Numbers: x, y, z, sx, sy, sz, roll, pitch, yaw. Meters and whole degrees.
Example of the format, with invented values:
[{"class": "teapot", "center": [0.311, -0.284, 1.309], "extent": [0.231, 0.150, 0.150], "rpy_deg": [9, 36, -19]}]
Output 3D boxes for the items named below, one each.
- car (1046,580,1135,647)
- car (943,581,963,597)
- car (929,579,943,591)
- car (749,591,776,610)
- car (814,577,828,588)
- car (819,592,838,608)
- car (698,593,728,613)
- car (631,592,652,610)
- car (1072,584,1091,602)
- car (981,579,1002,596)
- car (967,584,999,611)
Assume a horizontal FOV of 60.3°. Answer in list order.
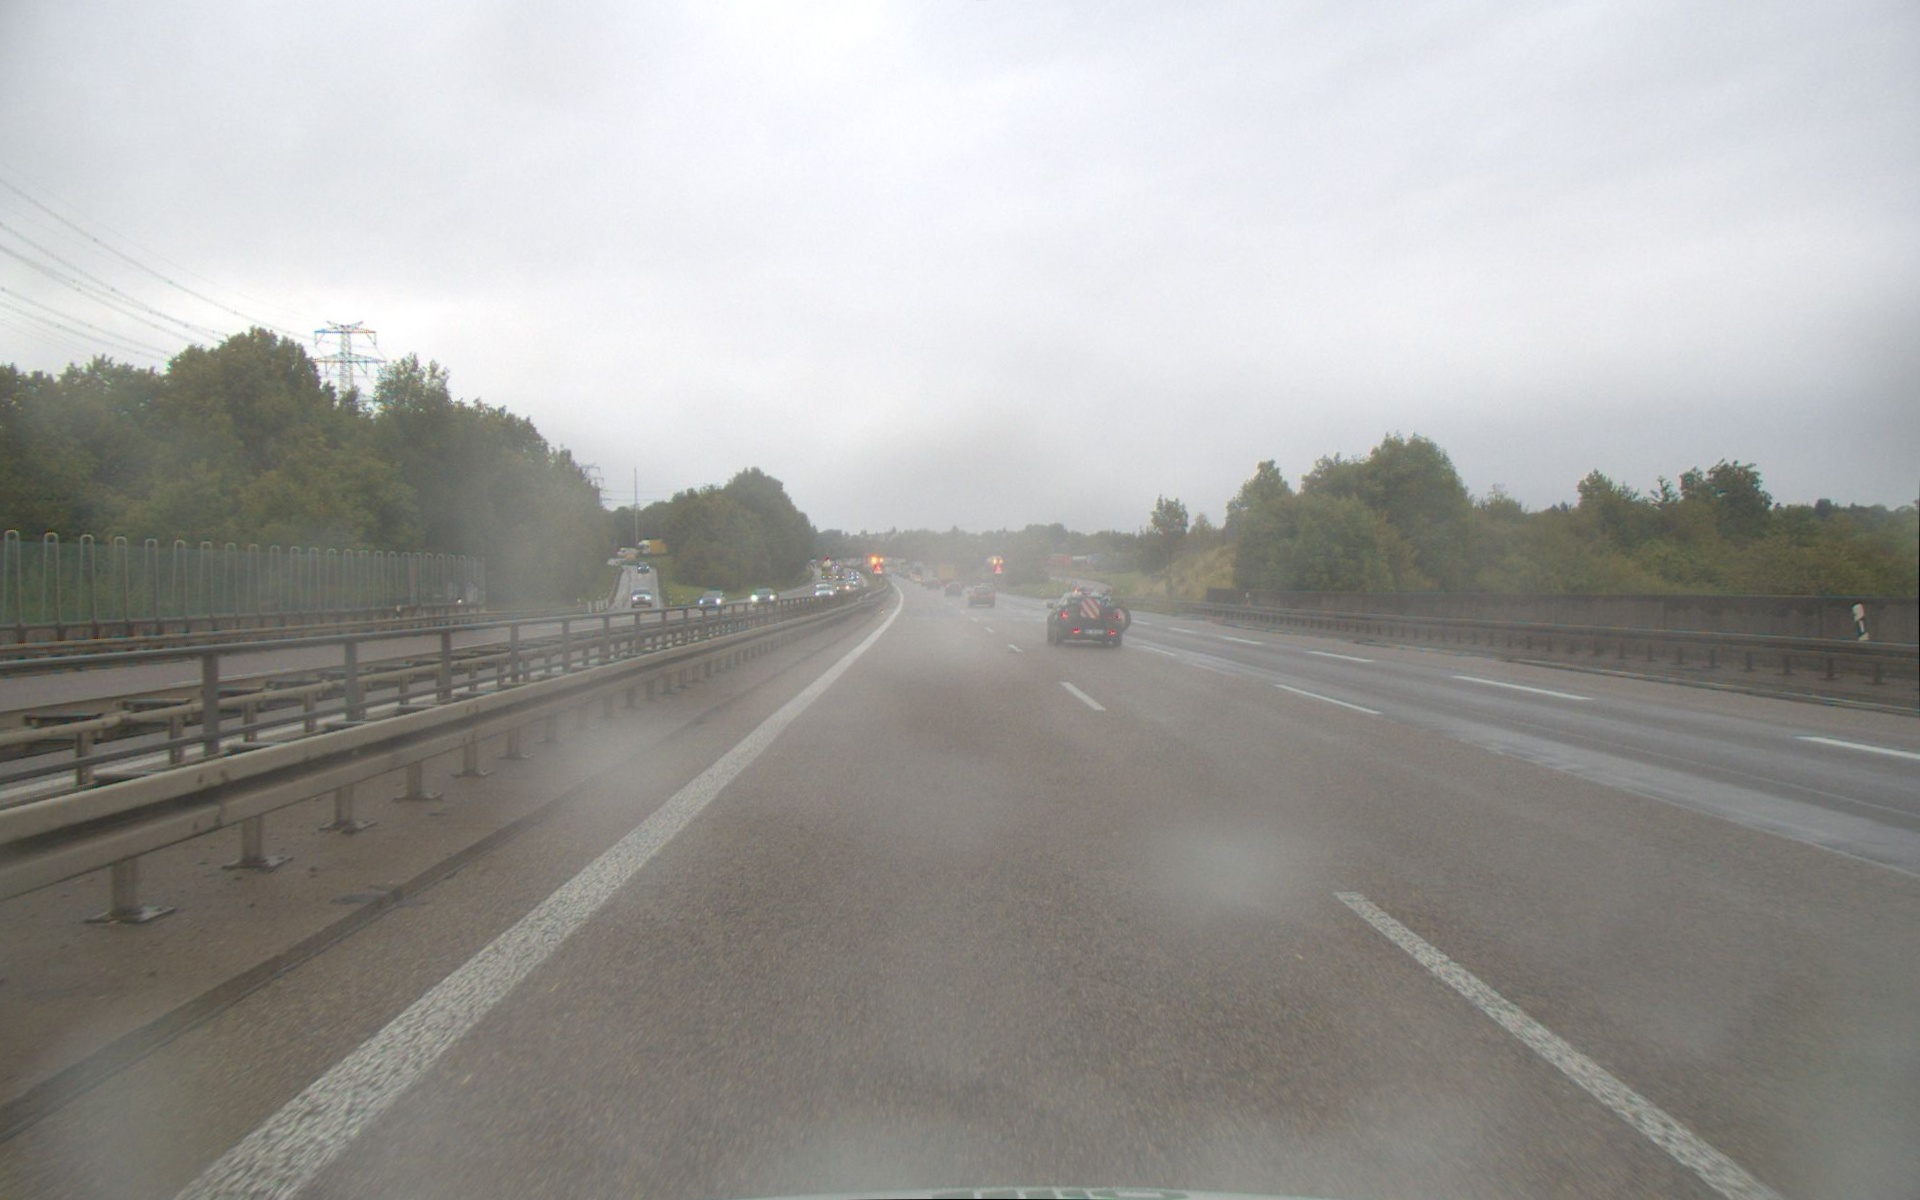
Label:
[{"class": "car", "center": [3.486, 0.351, 45.265], "extent": [2.015, 1.700, 5.522], "rpy_deg": [0, 0, 0]}, {"class": "car", "center": [-0.826, -1.214, 181.368], "extent": [1.954, 1.657, 3.998], "rpy_deg": [-1, 1, -3]}, {"class": "car", "center": [-3.610, -2.288, 251.407], "extent": [1.954, 1.657, 3.998], "rpy_deg": [-1, 1, -3]}, {"class": "car", "center": [-16.192, 0.029, 135.510], "extent": [1.779, 1.462, 4.088], "rpy_deg": [-2, 1, -1]}, {"class": "car", "center": [-21.085, -2.639, 251.556], "extent": [1.866, 1.694, 4.712], "rpy_deg": [-1, 1, -2]}, {"class": "car", "center": [-12.777, 0.007, 160.856], "extent": [1.623, 1.462, 4.088], "rpy_deg": [-2, 1, -1]}, {"class": "car", "center": [-19.148, 0.239, 128.315], "extent": [1.779, 1.413, 4.088], "rpy_deg": [-2, 1, -1]}, {"class": "car", "center": [-31.519, 0.087, 163.566], "extent": [1.958, 1.699, 3.988], "rpy_deg": [-1, 0, -12]}, {"class": "car", "center": [12.310, -0.740, 167.419], "extent": [1.882, 1.739, 4.002], "rpy_deg": [-1, 1, 3]}, {"class": "car", "center": [3.466, -1.404, 180.980], "extent": [1.954, 1.791, 3.998], "rpy_deg": [-1, 1, -3]}, {"class": "car", "center": [1.600, -0.188, 116.029], "extent": [1.954, 1.791, 3.998], "rpy_deg": [-1, 1, -3]}]
